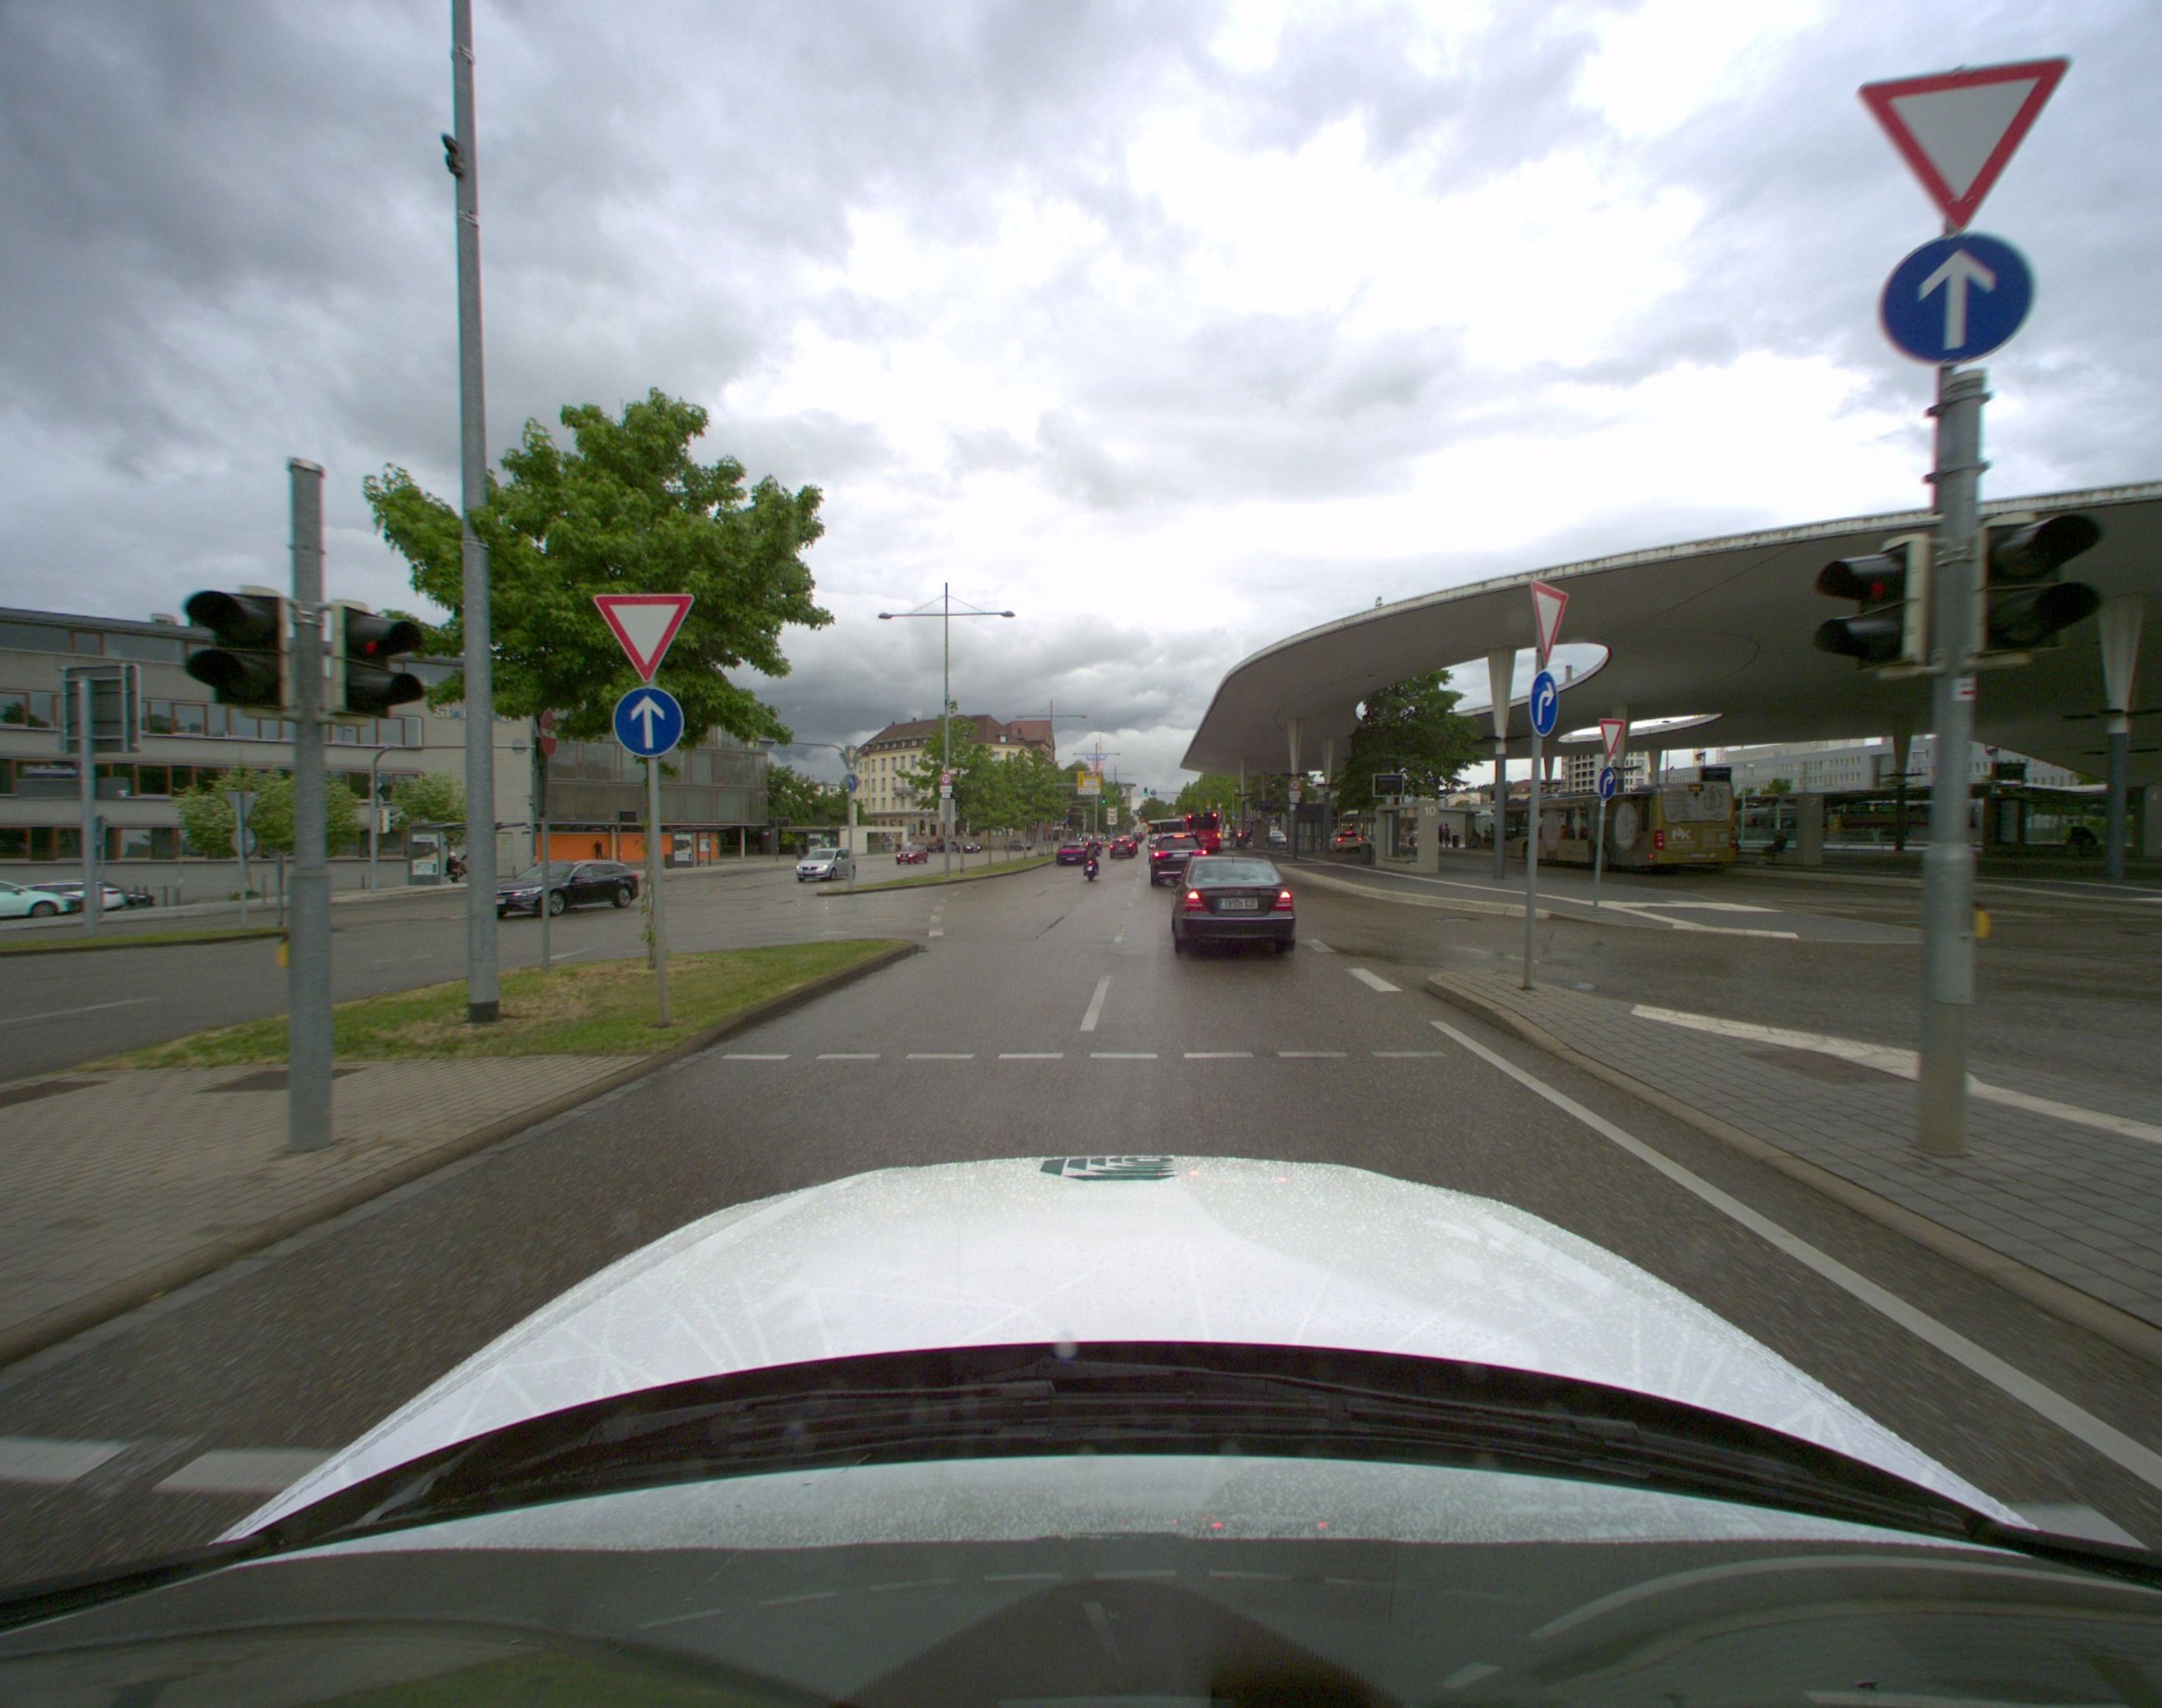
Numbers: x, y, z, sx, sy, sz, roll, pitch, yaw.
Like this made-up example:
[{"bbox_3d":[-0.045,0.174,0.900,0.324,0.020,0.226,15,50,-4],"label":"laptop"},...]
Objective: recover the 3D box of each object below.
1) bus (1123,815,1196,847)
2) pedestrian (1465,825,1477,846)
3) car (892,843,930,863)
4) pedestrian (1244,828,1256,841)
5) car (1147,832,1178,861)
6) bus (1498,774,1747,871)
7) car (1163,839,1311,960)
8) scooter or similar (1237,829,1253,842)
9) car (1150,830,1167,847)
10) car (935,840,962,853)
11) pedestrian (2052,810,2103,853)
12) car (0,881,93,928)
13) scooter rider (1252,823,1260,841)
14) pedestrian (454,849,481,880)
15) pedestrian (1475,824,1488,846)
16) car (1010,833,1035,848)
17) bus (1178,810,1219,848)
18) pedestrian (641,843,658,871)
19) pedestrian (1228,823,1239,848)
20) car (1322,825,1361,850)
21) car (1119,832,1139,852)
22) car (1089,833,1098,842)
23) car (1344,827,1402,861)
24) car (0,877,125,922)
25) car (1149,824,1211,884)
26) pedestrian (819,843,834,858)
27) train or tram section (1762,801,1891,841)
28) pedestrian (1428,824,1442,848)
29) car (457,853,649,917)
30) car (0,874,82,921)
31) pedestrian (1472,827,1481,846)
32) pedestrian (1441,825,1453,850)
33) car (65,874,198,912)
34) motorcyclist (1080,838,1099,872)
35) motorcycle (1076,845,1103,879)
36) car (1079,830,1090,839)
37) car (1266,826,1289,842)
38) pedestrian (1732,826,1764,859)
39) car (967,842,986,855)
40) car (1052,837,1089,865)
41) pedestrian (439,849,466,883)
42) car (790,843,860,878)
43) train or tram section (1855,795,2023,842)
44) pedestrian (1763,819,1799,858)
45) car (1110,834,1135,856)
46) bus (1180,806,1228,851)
[{"bbox_3d":[10.345,-2.962,109.206,2.859,3.987,11.737,-2,1,-34],"label":"bus"},{"bbox_3d":[26.972,-1.257,56.290,0.558,1.444,0.614,-1,0,1],"label":"pedestrian"},{"bbox_3d":[-13.824,-0.108,66.523,1.813,1.552,4.040,-1,1,6],"label":"car"},{"bbox_3d":[14.190,-1.631,68.554,0.906,0.985,0.636,0,-3,18],"label":"pedestrian"},{"bbox_3d":[5.015,-0.494,50.487,1.733,1.567,3.877,-3,1,5],"label":"car"},{"bbox_3d":[20.548,-1.166,32.306,2.709,3.043,12.106,-2,1,5],"label":"bus"},{"bbox_3d":[2.236,0.556,12.714,1.690,1.462,4.308,-2,1,4],"label":"car"},{"bbox_3d":[13.830,-1.553,68.740,1.233,1.013,0.768,-1,1,18],"label":"scooter or similar"},{"bbox_3d":[7.537,-1.528,79.740,1.568,1.567,3.877,-3,1,5],"label":"car"},{"bbox_3d":[-19.818,-1.084,121.373,2.130,1.775,4.342,-3,1,-38],"label":"car"},{"bbox_3d":[37.530,-0.839,30.691,0.792,1.586,0.908,1,0,-2],"label":"pedestrian"},{"bbox_3d":[-38.423,1.829,29.086,1.614,1.495,3.600,-1,1,20],"label":"car"},{"bbox_3d":[14.716,-1.849,68.501,0.587,1.489,0.768,-1,1,18],"label":"scooter rider"},{"bbox_3d":[-28.096,0.479,37.299,0.675,1.392,0.721,-1,1,2],"label":"pedestrian"},{"bbox_3d":[26.945,-1.293,54.808,0.558,1.444,0.614,-1,0,1],"label":"pedestrian"},{"bbox_3d":[-7.596,-1.716,104.676,1.875,1.684,3.967,3,-1,-25],"label":"car"},{"bbox_3d":[10.784,-2.303,75.767,3.275,3.288,8.864,-2,1,6],"label":"bus"},{"bbox_3d":[-26.503,0.159,49.994,0.471,1.683,0.765,-2,1,11],"label":"pedestrian"},{"bbox_3d":[12.250,-1.506,65.456,0.771,2.013,0.785,2,1,17],"label":"pedestrian"},{"bbox_3d":[18.285,-1.188,57.328,1.704,1.662,4.245,0,1,4],"label":"car"},{"bbox_3d":[4.077,-1.017,68.819,1.568,1.567,3.877,-3,1,5],"label":"car"},{"bbox_3d":[2.550,-3.313,162.726,1.568,1.567,3.435,-3,1,5],"label":"car"},{"bbox_3d":[13.222,-0.479,37.048,1.640,1.453,3.241,-1,2,3],"label":"car"},{"bbox_3d":[-40.318,1.760,31.753,1.743,1.495,3.811,-1,1,43],"label":"car"},{"bbox_3d":[3.485,-0.071,29.350,1.948,1.875,4.881,-3,1,5],"label":"car"},{"bbox_3d":[-23.754,-0.337,76.023,0.967,1.267,0.854,3,3,25],"label":"pedestrian"},{"bbox_3d":[76.162,-3.352,83.711,3.117,3.680,11.631,3,2,4],"label":"train or tram section"},{"bbox_3d":[24.307,-1.242,55.855,0.597,1.581,0.710,0,-1,-4],"label":"pedestrian"},{"bbox_3d":[-14.694,0.785,23.103,1.838,1.504,4.928,-1,1,6],"label":"car"},{"bbox_3d":[-36.795,1.507,27.422,1.614,1.495,3.600,-1,1,20],"label":"car"},{"bbox_3d":[26.987,-1.185,55.555,0.454,1.250,0.566,1,2,34],"label":"pedestrian"},{"bbox_3d":[24.260,-1.101,53.998,0.558,1.691,0.613,0,1,-2],"label":"pedestrian"},{"bbox_3d":[-43.456,1.756,37.370,1.613,1.495,3.602,-1,1,23],"label":"car"},{"bbox_3d":[0.358,0.046,33.024,0.638,1.347,0.690,-2,1,8],"label":"motorcyclist"},{"bbox_3d":[0.369,0.313,32.844,0.788,1.262,1.859,-3,1,8],"label":"motorcycle"},{"bbox_3d":[0.691,-3.807,156.511,1.771,1.567,3.435,-3,1,5],"label":"car"},{"bbox_3d":[20.825,-2.095,86.336,1.704,1.662,4.245,0,1,4],"label":"car"},{"bbox_3d":[25.488,-0.440,31.134,0.786,1.226,0.637,-1,1,22],"label":"pedestrian"},{"bbox_3d":[-12.826,-0.696,99.713,1.684,1.527,4.614,-2,1,-16],"label":"car"},{"bbox_3d":[-0.604,-0.209,51.240,1.807,1.570,4.410,-3,1,5],"label":"car"},{"bbox_3d":[-28.229,0.529,36.564,0.675,1.468,0.626,-1,1,2],"label":"pedestrian"},{"bbox_3d":[-12.905,0.288,41.324,1.838,1.652,4.425,-1,1,5],"label":"car"},{"bbox_3d":[75.307,-3.046,72.066,3.117,3.677,11.631,3,1,4],"label":"train or tram section"},{"bbox_3d":[25.144,-0.552,29.266,0.786,1.377,0.637,-1,1,22],"label":"pedestrian"},{"bbox_3d":[3.106,-0.688,60.510,1.568,1.504,3.878,-3,1,6],"label":"car"},{"bbox_3d":[9.888,-2.049,66.692,3.270,3.291,10.896,-2,1,6],"label":"bus"}]
